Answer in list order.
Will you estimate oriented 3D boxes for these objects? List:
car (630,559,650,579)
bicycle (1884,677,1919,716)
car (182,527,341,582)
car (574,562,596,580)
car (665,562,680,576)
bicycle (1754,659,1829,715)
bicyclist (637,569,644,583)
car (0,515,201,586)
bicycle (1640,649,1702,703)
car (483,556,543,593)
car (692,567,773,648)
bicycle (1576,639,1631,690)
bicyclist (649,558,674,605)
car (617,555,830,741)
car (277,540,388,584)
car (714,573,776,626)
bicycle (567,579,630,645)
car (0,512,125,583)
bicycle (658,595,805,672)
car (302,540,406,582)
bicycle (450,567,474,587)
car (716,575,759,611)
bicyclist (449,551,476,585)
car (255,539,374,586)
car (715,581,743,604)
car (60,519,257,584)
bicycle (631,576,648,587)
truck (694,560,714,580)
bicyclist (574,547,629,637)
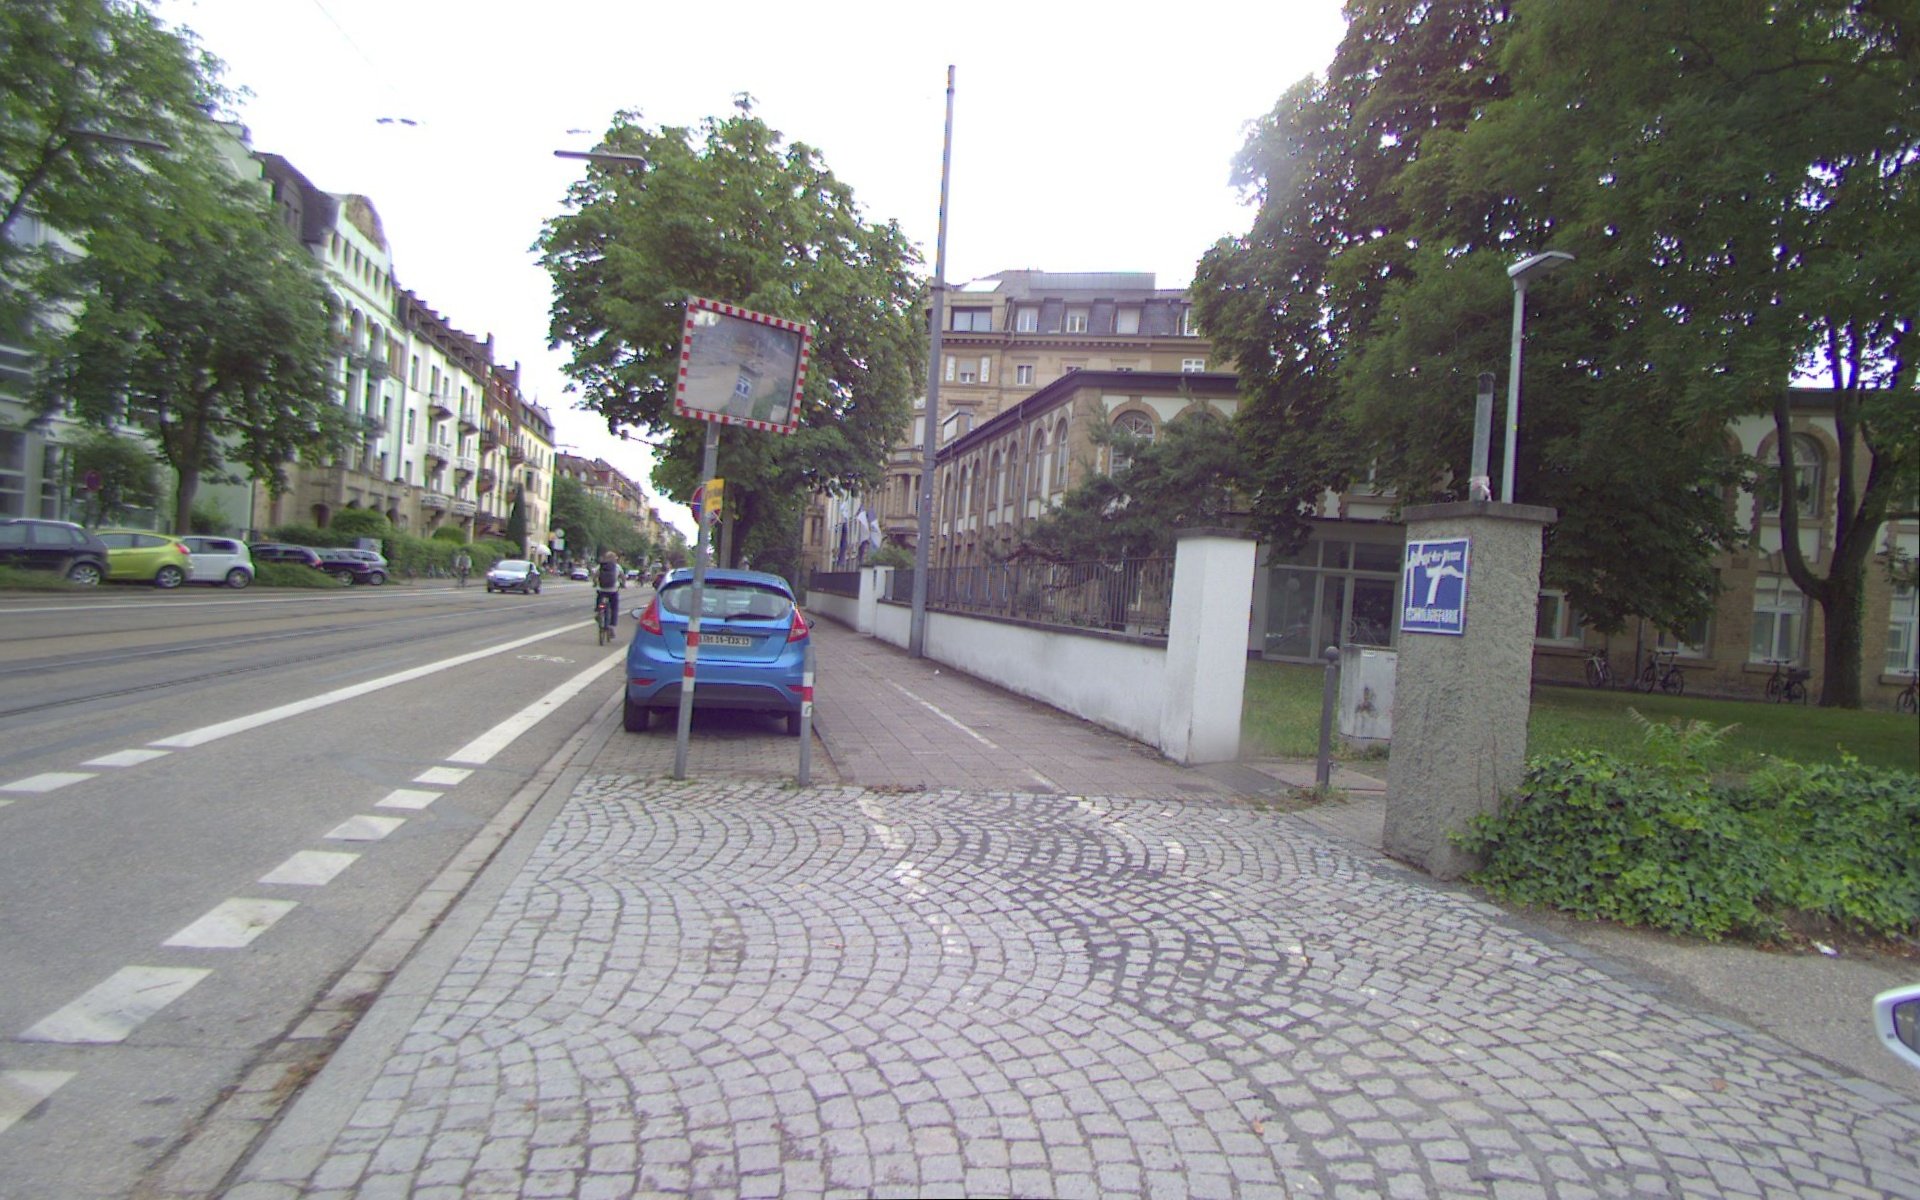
[{"bbox_3d":[-42.574,-4.111,133.736,2.175,2.449,3.989,4,1,-13],"label":"car"},{"bbox_3d":[22.444,2.280,23.395,0.607,0.824,1.944,4,0,20],"label":"bicycle"},{"bbox_3d":[-23.221,-1.476,33.553,1.670,1.369,3.960,6,0,31],"label":"car"},{"bbox_3d":[-50.808,-3.896,136.154,2.147,2.236,4.208,4,1,-12],"label":"car"},{"bbox_3d":[-50.728,-5.408,177.177,2.175,2.285,3.989,4,1,-13],"label":"car"},{"bbox_3d":[19.823,2.053,23.994,0.607,1.134,2.221,4,0,20],"label":"bicycle"},{"bbox_3d":[-28.280,-2.136,88.933,0.506,1.184,0.436,4,1,-20],"label":"bicyclist"},{"bbox_3d":[-21.974,-1.225,25.448,1.670,1.369,3.960,6,0,31],"label":"car"},{"bbox_3d":[17.359,1.829,24.588,0.607,1.134,2.221,4,0,20],"label":"bicycle"},{"bbox_3d":[-19.880,-1.134,44.809,1.718,1.448,3.987,4,0,-15],"label":"car"},{"bbox_3d":[-4.921,0.112,21.729,1.455,1.500,3.555,5,0,-13],"label":"car"},{"bbox_3d":[16.046,1.587,25.085,0.607,1.134,2.221,4,0,20],"label":"bicycle"},{"bbox_3d":[-10.775,-0.663,36.291,0.648,1.632,0.917,4,1,-12],"label":"bicyclist"},{"bbox_3d":[-2.331,0.378,10.003,1.651,1.480,3.423,3,1,-13],"label":"car"},{"bbox_3d":[-25.929,-1.570,41.558,3.687,1.404,1.682,6,0,-37],"label":"car"},{"bbox_3d":[-6.241,-0.041,28.987,1.489,1.320,3.168,4,1,-16],"label":"car"},{"bbox_3d":[-6.778,0.201,18.915,0.654,1.131,1.863,6,0,-8],"label":"bicycle"},{"bbox_3d":[-21.300,-1.269,22.210,1.670,1.369,3.960,6,0,31],"label":"car"},{"bbox_3d":[-3.318,0.490,14.603,1.987,0.969,0.532,4,1,-17],"label":"bicycle"},{"bbox_3d":[-26.794,-1.704,44.441,3.687,1.404,1.682,6,0,-37],"label":"car"},{"bbox_3d":[-23.381,-1.063,47.180,0.462,0.880,2.133,4,1,-12],"label":"bicycle"},{"bbox_3d":[-9.321,-0.325,41.925,1.489,1.320,3.168,4,1,-16],"label":"car"},{"bbox_3d":[-23.297,-1.508,47.032,0.831,1.520,1.025,4,1,-12],"label":"bicyclist"},{"bbox_3d":[-24.940,-1.442,38.830,3.687,1.404,1.682,6,0,-37],"label":"car"},{"bbox_3d":[-15.873,-0.512,69.145,1.643,1.417,3.653,4,0,-11],"label":"car"},{"bbox_3d":[-22.541,-1.335,28.416,1.670,1.369,3.960,6,0,31],"label":"car"},{"bbox_3d":[-28.367,-1.629,88.926,1.429,0.811,0.433,4,1,-21],"label":"bicycle"},{"bbox_3d":[-56.707,-6.613,222.523,3.759,4.083,10.182,4,0,-16],"label":"truck"},{"bbox_3d":[-6.751,-0.152,18.956,0.652,1.590,0.984,5,0,-8],"label":"bicyclist"}]
